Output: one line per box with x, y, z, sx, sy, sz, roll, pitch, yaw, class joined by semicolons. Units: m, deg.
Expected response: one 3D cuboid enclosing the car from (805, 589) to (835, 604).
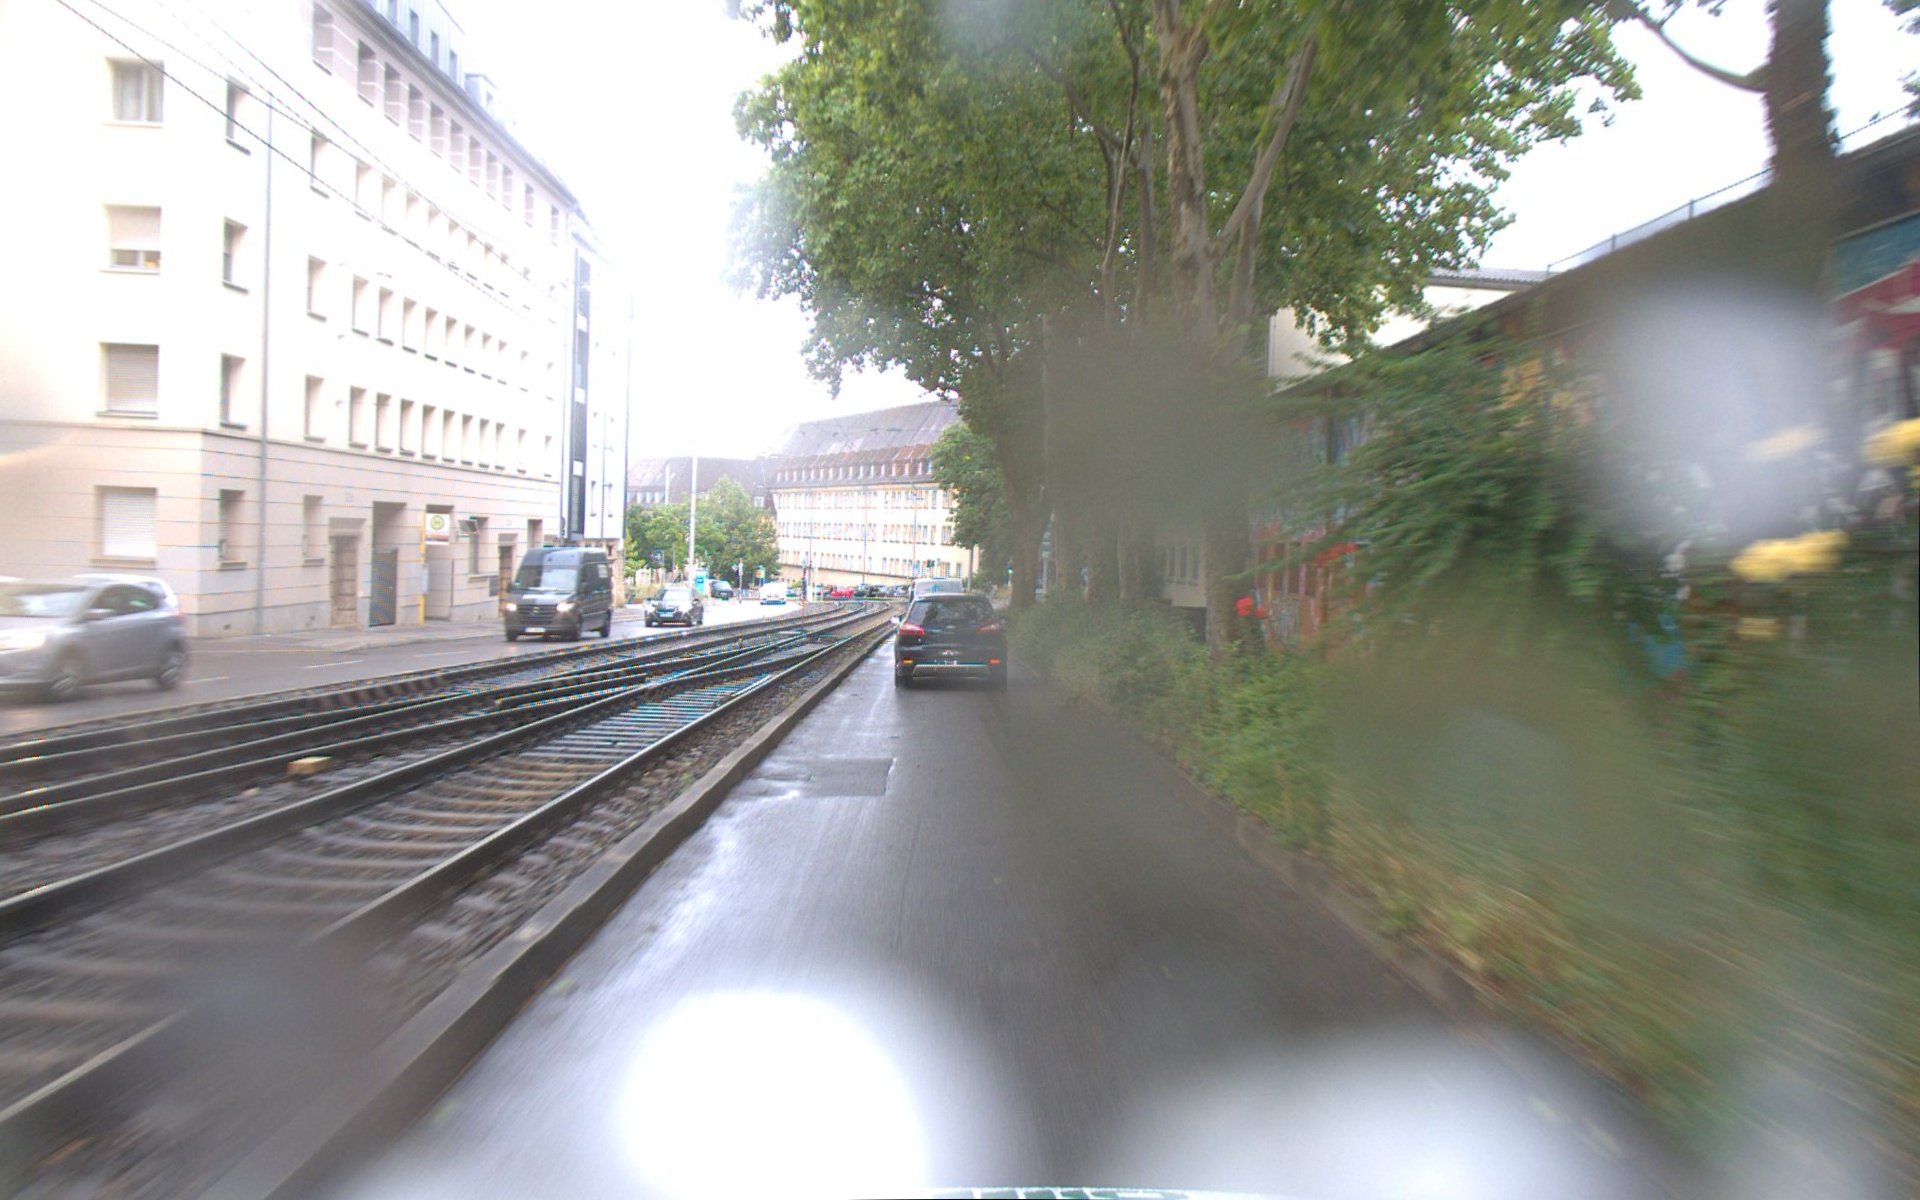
-15.633;-0.400;184.748;1.971;1.569;3.964;0;1;-28;car

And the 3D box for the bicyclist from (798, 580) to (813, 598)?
-11.306;-0.810;121.081;0.766;1.336;0.780;0;0;-38;bicyclist

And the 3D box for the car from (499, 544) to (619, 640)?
-11.222;-0.182;46.763;1.953;2.494;5.997;1;-1;-1;car

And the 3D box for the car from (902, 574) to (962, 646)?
-0.842;0.291;50.020;1.705;2.049;3.903;1;0;-1;car

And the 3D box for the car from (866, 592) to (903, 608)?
-7.787;-0.040;170.884;1.977;1.569;3.951;1;0;-35;car

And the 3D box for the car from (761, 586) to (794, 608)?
-13.109;-0.192;118.980;1.762;1.508;4.840;1;0;0;car

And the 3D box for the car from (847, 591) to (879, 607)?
-10.340;-0.132;175.648;1.567;1.569;3.951;1;0;-35;car

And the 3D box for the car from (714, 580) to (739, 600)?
-19.560;-0.817;138.375;1.957;1.569;3.990;1;0;-10;car

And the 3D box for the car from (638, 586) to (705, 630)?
-11.348;0.278;65.364;1.842;1.511;4.854;1;2;-1;car

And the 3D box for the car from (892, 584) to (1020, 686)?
-0.143;0.529;27.260;1.894;1.478;4.315;2;0;-3;car

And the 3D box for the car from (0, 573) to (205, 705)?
-11.330;0.419;20.796;1.676;1.488;4.280;1;0;0;car

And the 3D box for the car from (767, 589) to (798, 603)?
-20.670;-0.440;192.208;1.975;1.569;3.954;1;0;-33;car

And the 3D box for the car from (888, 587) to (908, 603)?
-6.284;-0.520;167.224;1.627;1.502;3.636;1;0;-9;car

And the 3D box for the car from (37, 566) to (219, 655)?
-15.440;0.188;30.895;1.674;1.475;3.539;3;0;-3;car

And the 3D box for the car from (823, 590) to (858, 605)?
-13.043;-0.233;179.988;1.978;1.569;3.948;1;0;-37;car

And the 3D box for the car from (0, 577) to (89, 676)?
-15.162;0.382;25.122;1.669;1.421;3.936;3;0;0;car
